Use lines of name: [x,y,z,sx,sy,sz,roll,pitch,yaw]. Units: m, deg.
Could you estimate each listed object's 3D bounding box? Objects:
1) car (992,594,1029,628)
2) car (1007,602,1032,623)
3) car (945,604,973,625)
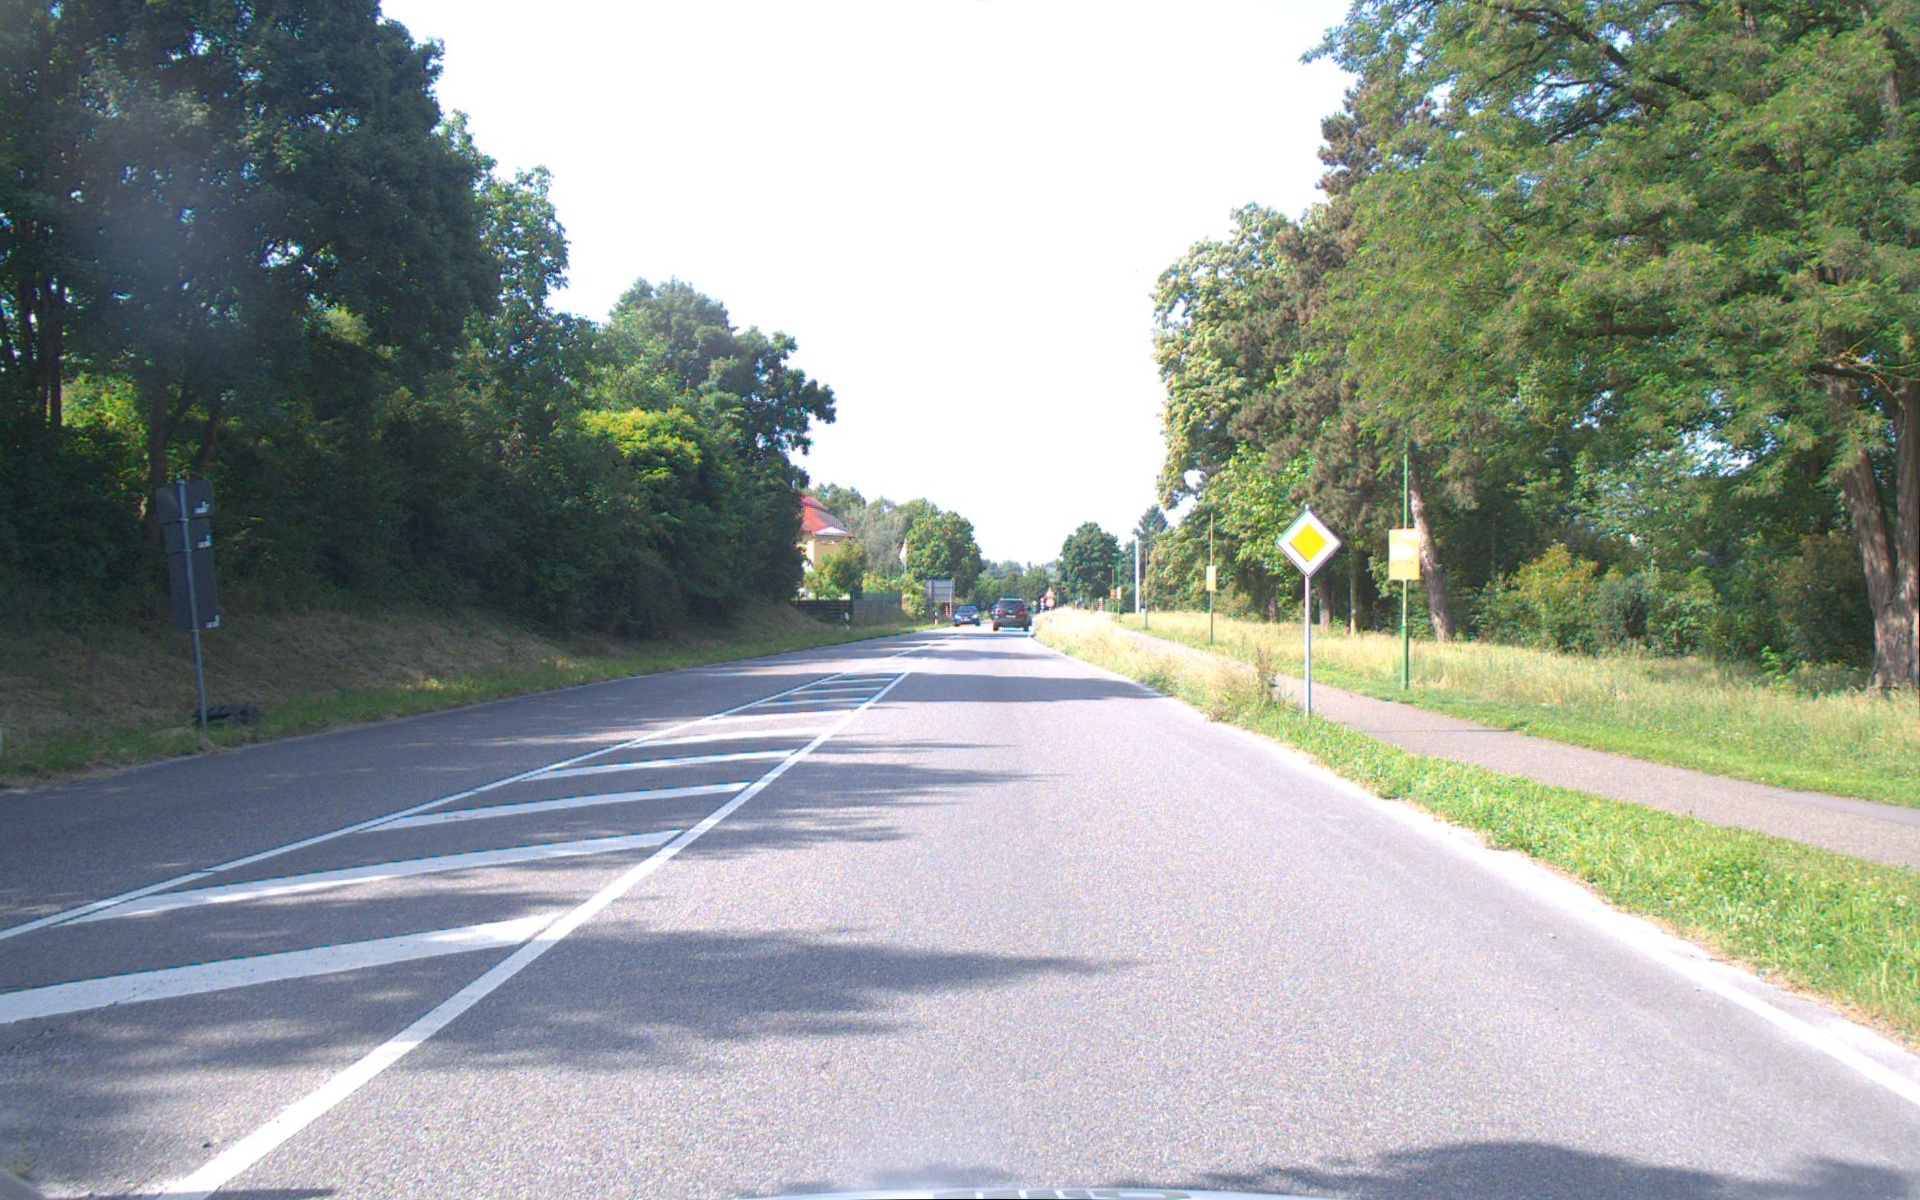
car: [2.663,0.576,87.941,1.885,1.802,4.000,0,0,1]
car: [4.472,0.962,124.917,1.700,1.542,3.914,0,0,0]
car: [-0.080,1.032,121.286,1.831,1.448,4.578,-2,0,2]
